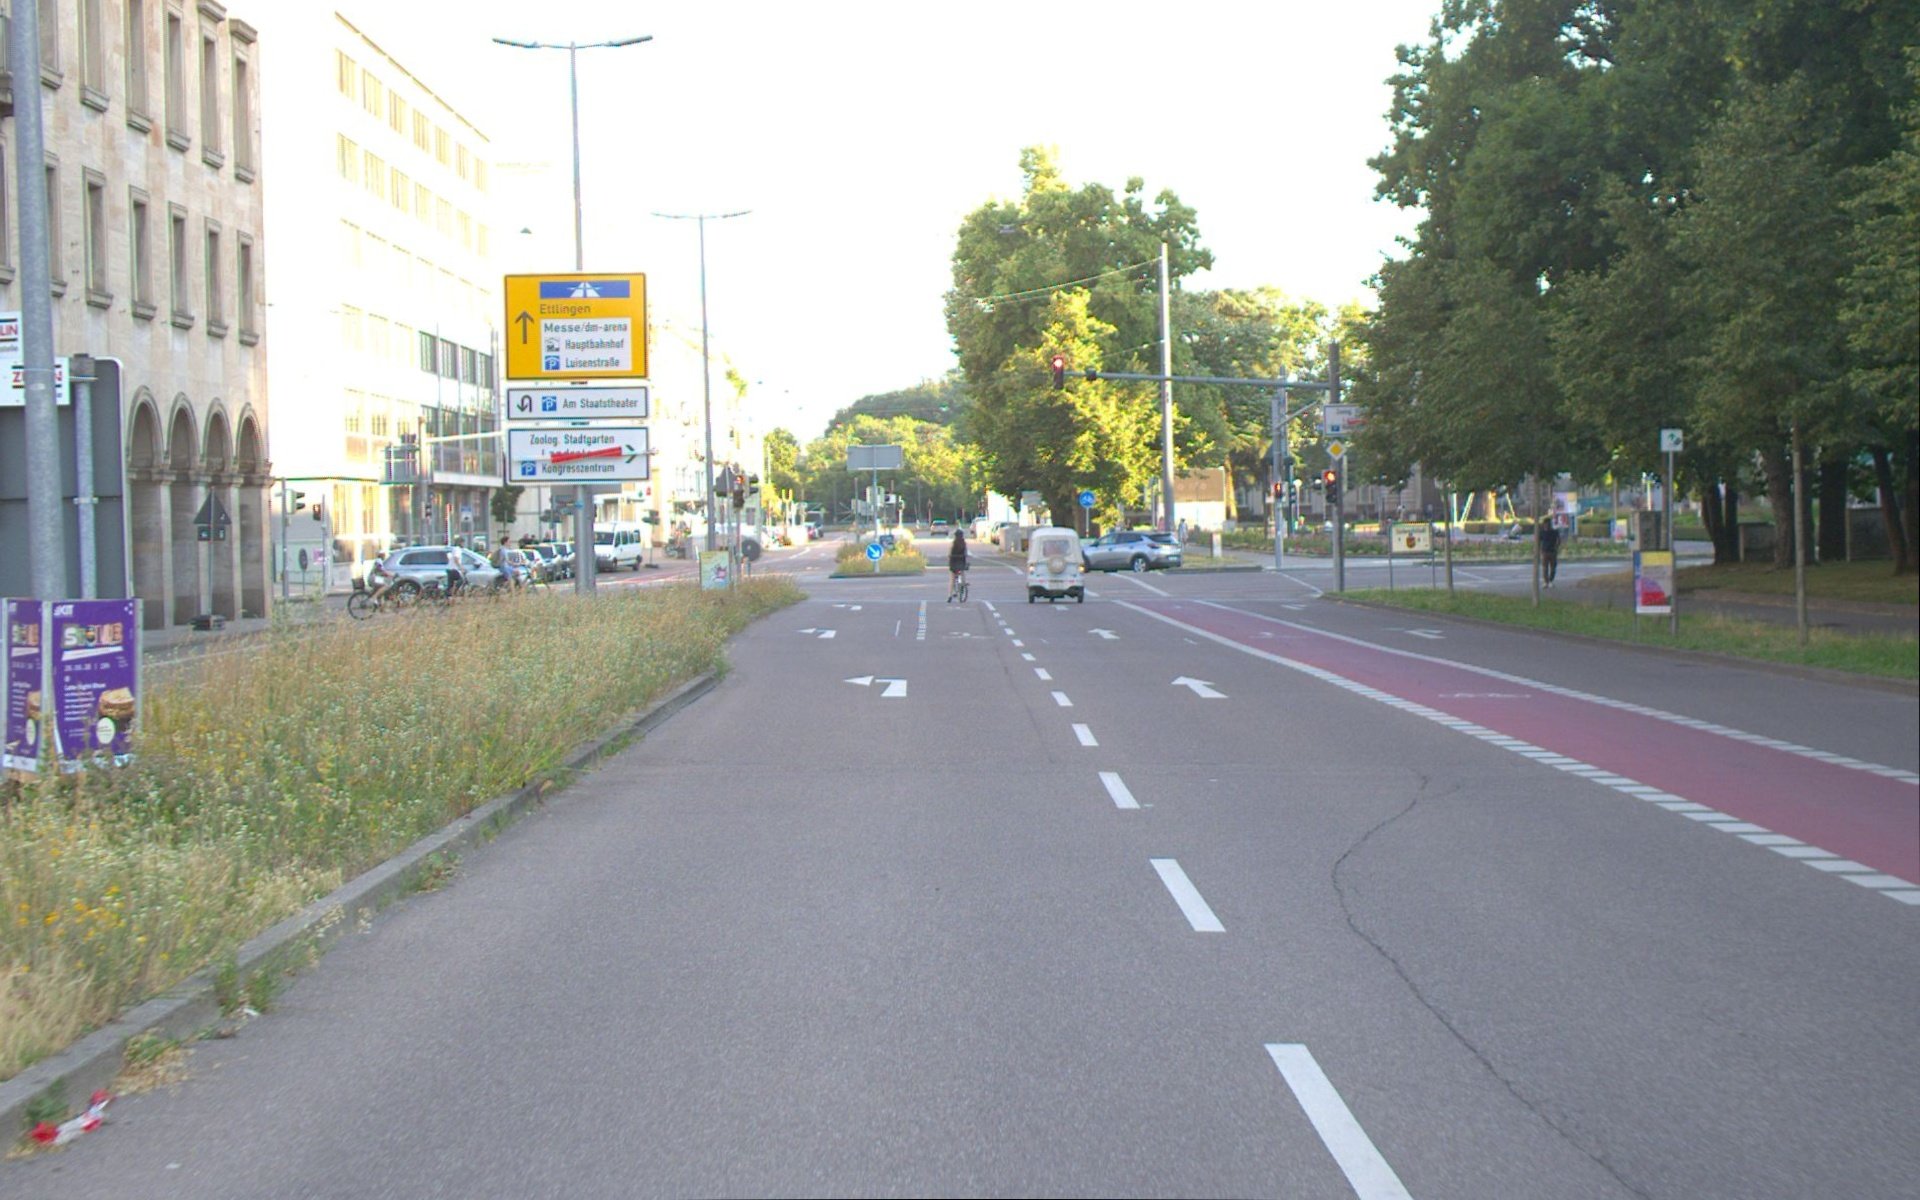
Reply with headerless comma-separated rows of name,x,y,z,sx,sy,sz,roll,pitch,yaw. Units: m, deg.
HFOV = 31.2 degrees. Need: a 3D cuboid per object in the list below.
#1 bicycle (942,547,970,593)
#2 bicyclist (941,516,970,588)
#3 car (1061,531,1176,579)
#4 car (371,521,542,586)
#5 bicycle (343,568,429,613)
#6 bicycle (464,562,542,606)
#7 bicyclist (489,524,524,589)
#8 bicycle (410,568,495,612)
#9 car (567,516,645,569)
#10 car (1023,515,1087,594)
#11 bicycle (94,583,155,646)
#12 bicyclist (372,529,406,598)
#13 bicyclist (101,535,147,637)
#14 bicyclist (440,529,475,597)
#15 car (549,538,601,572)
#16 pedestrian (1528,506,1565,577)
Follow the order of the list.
bicycle,-0.097,-0.717,81.587,0.637,1.065,2.069,0,1,-1
bicyclist,-0.112,-1.131,81.263,0.628,1.687,0.748,-2,1,-1
car,5.595,-1.594,121.479,3.987,1.568,2.000,-1,1,3
car,-13.727,-1.268,93.834,4.532,1.642,2.001,-2,1,-8
bicycle,-14.281,-0.237,85.581,2.015,1.065,0.731,-2,1,-5
bicycle,-12.053,-0.423,90.715,1.897,1.065,0.731,-2,1,3
bicyclist,-11.960,-1.149,90.710,0.746,1.687,0.715,-1,1,3
bicycle,-12.835,-0.259,86.973,2.057,1.065,0.787,-2,1,-3
car,-17.502,-2.806,170.270,2.177,2.377,5.986,-2,-1,11
car,2.238,-1.088,81.051,1.459,1.774,2.564,-1,2,2
bicycle,-14.037,0.228,57.795,0.541,1.002,2.005,-2,1,-1
bicyclist,-14.214,-0.900,85.555,0.746,1.687,0.715,-2,1,-7
bicyclist,-14.014,-0.247,57.649,0.536,1.687,0.748,-2,1,0
bicyclist,-12.707,-0.933,86.979,0.746,1.687,0.765,-2,1,-3
car,-18.315,-2.143,163.683,1.796,1.470,3.999,-2,-1,3
pedestrian,14.128,-1.419,82.804,0.695,1.687,0.748,-2,1,-2
